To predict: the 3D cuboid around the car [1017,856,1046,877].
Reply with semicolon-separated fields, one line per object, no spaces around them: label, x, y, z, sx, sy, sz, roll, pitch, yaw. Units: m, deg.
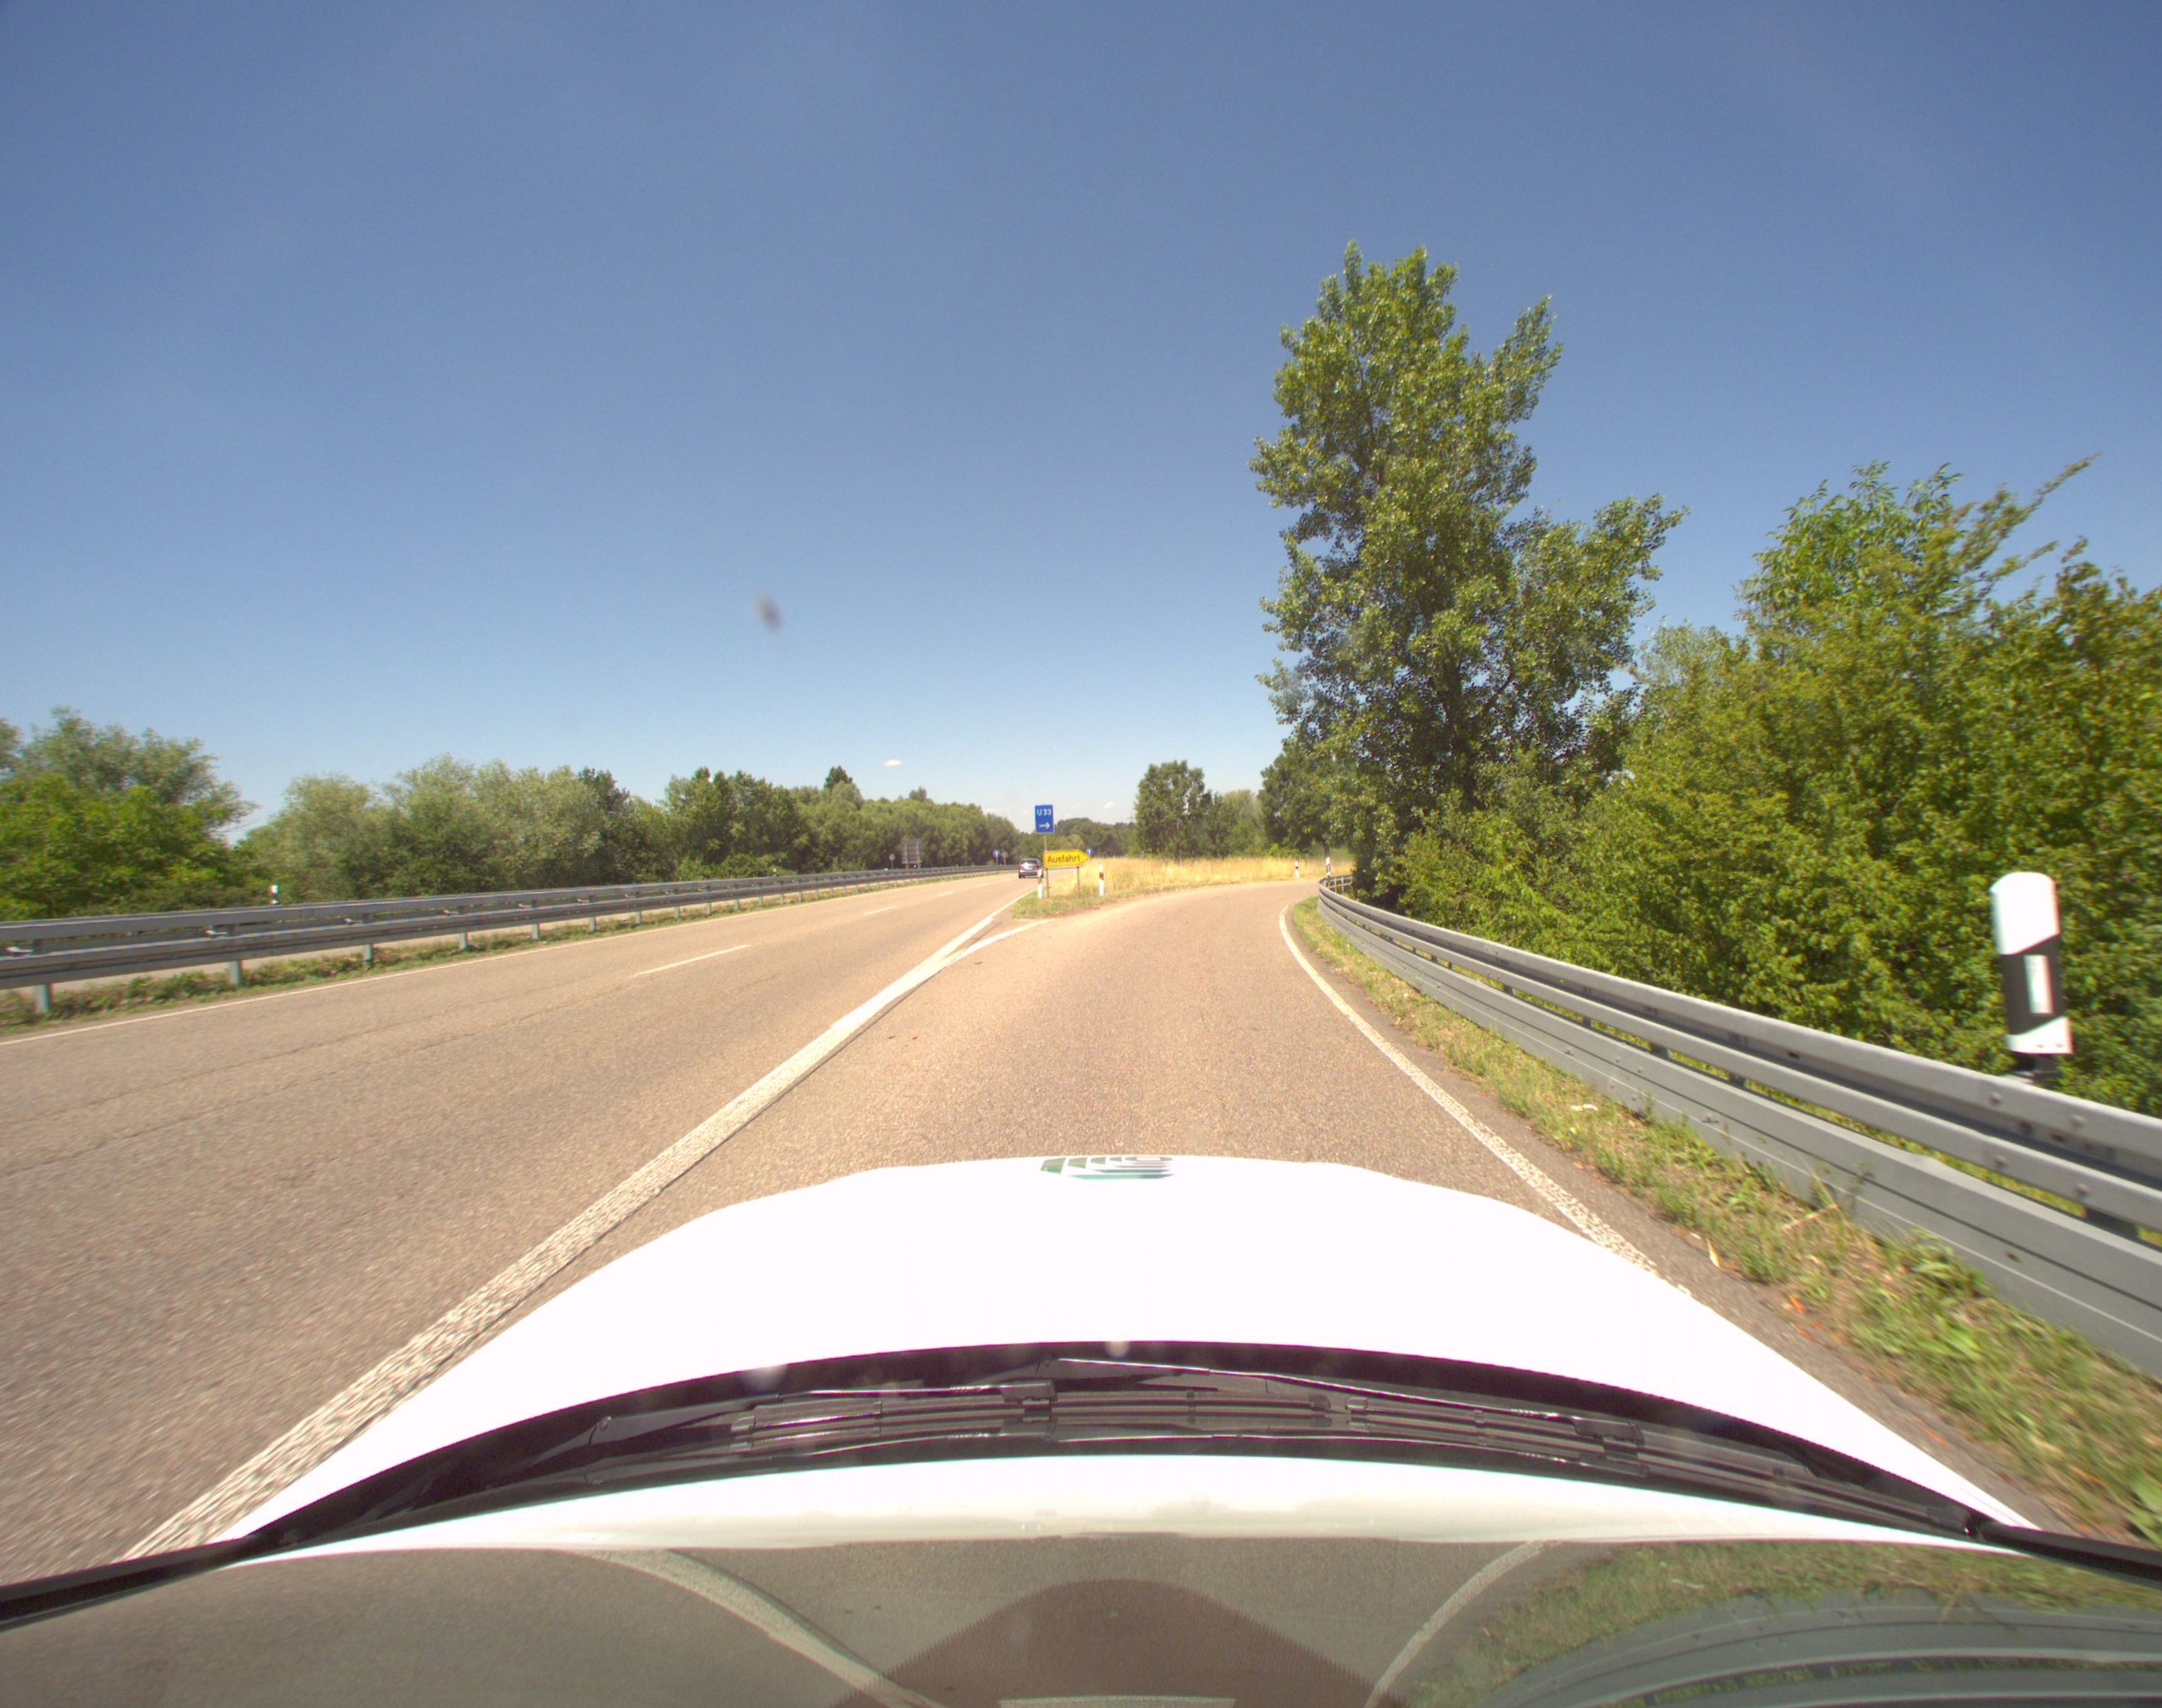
car;-3.993;0.992;66.228;2.028;1.673;4.001;0;-1;2
